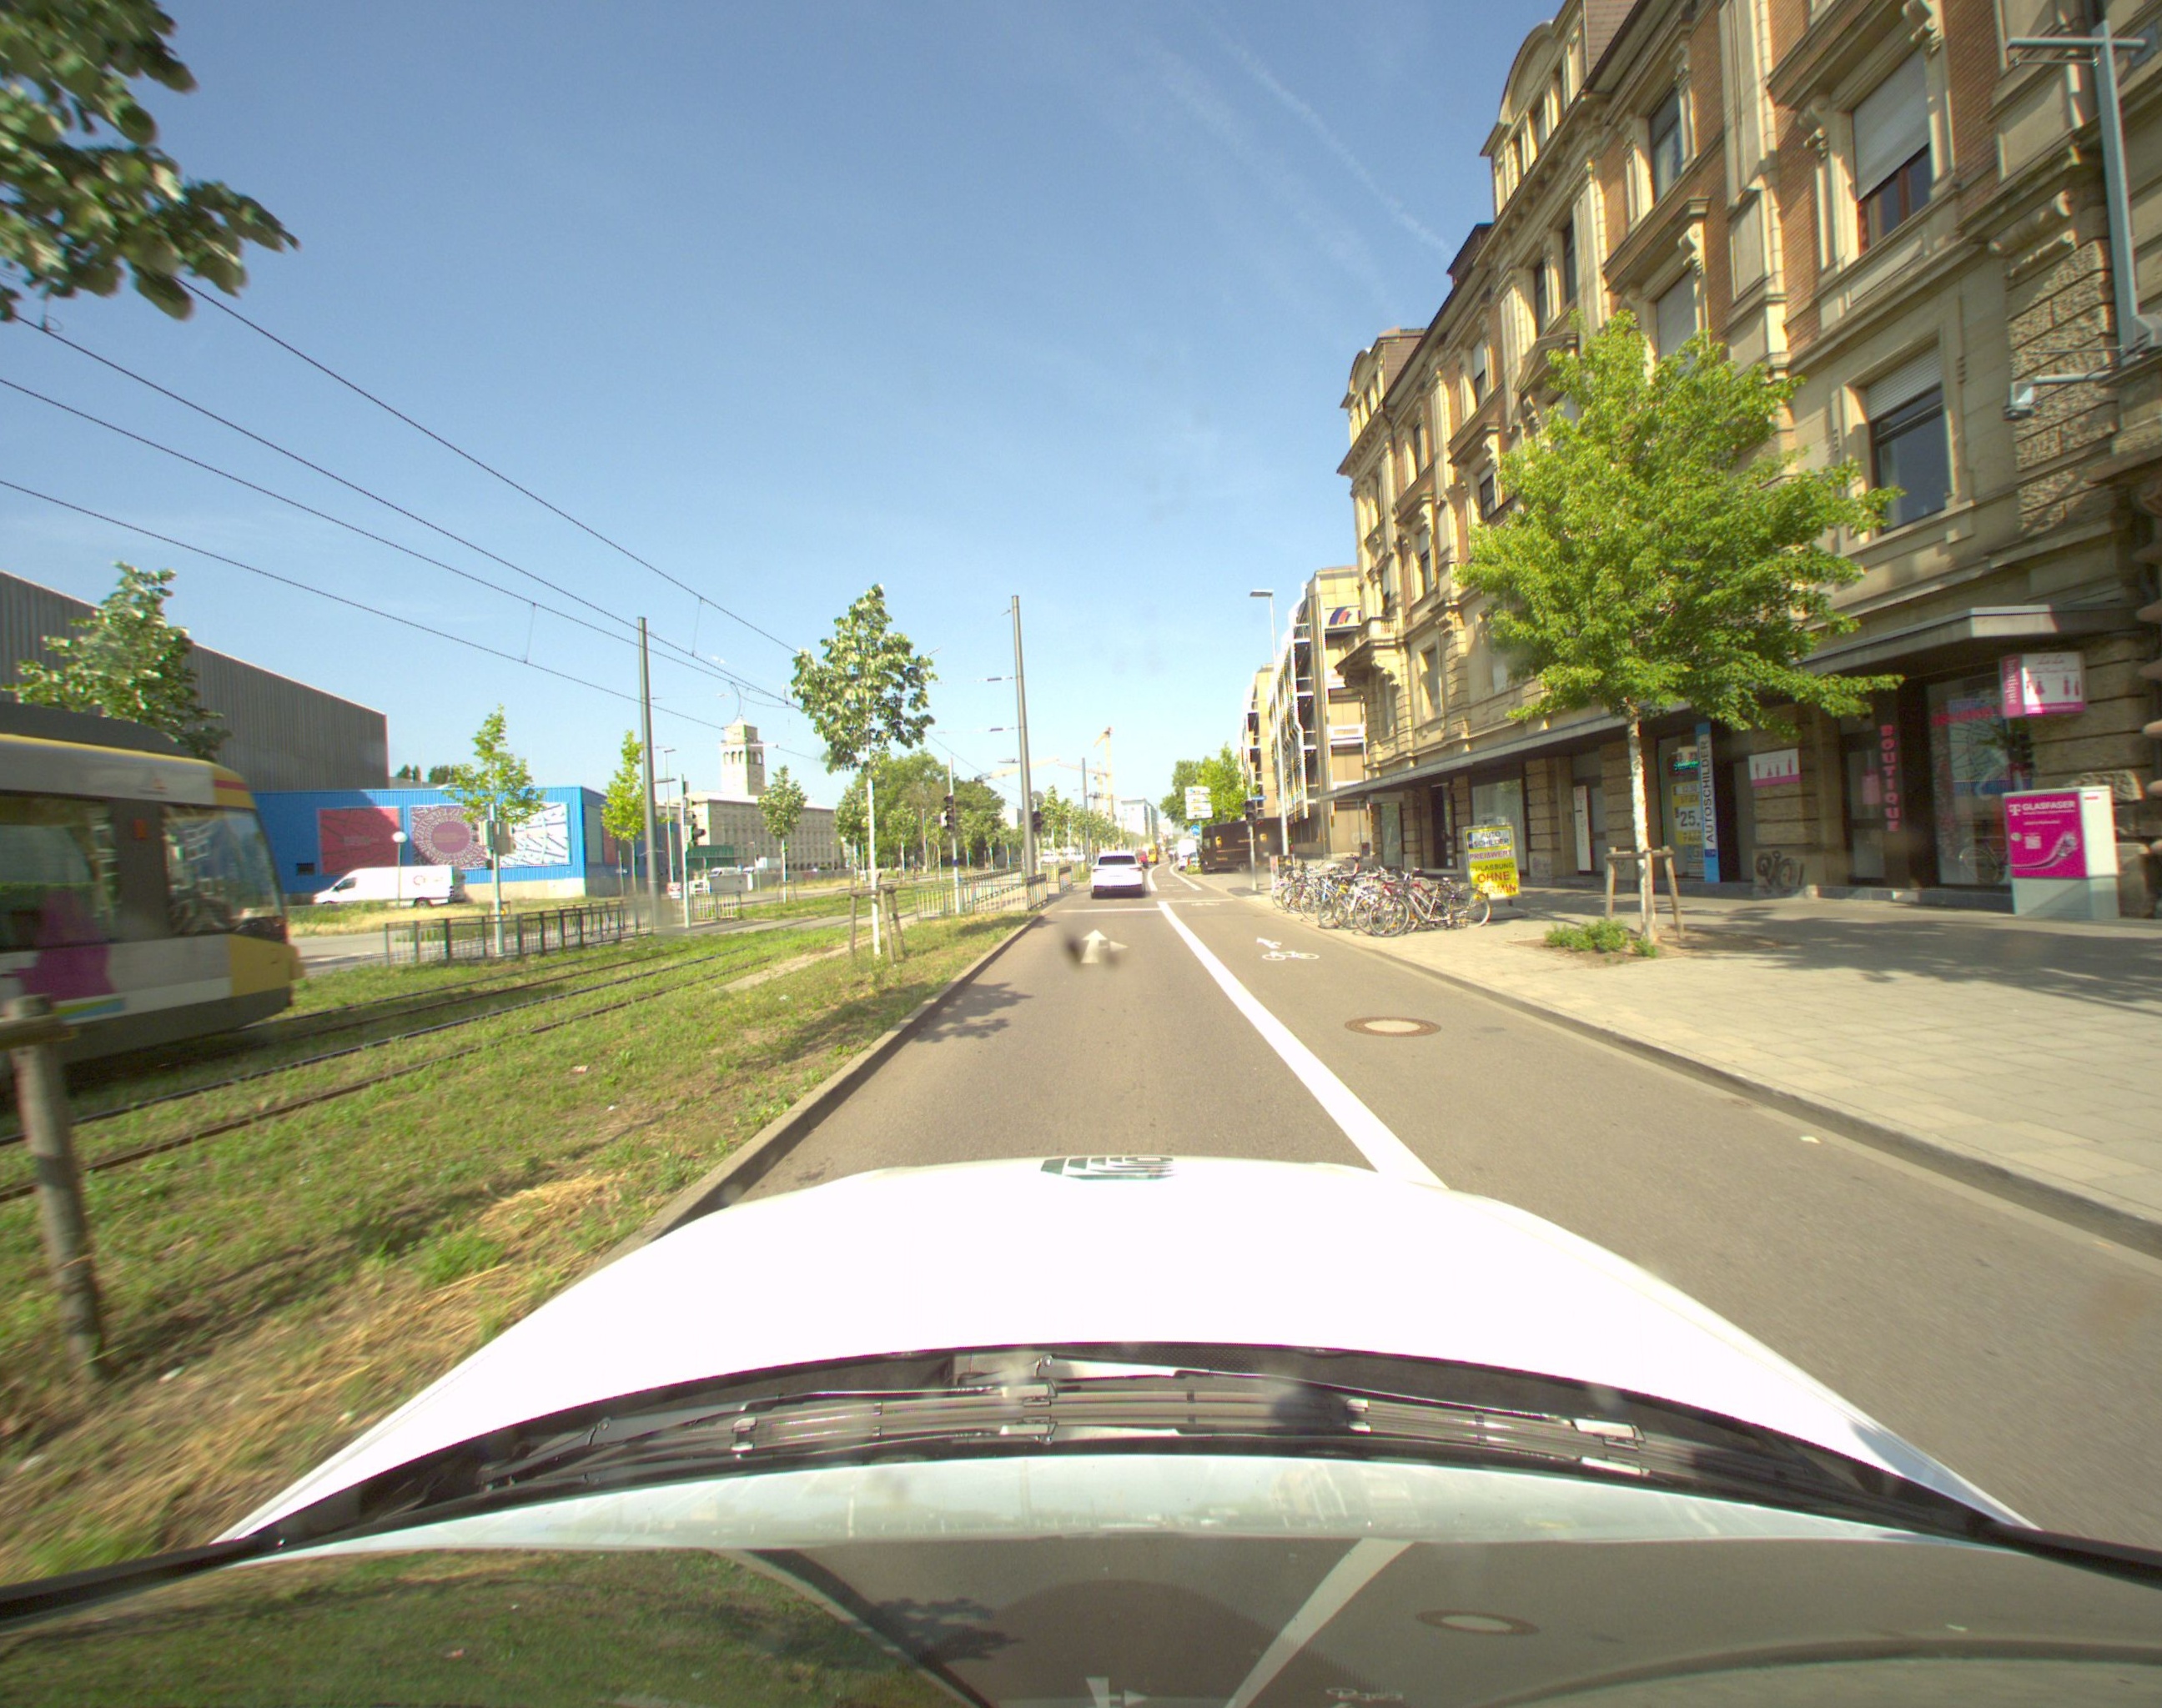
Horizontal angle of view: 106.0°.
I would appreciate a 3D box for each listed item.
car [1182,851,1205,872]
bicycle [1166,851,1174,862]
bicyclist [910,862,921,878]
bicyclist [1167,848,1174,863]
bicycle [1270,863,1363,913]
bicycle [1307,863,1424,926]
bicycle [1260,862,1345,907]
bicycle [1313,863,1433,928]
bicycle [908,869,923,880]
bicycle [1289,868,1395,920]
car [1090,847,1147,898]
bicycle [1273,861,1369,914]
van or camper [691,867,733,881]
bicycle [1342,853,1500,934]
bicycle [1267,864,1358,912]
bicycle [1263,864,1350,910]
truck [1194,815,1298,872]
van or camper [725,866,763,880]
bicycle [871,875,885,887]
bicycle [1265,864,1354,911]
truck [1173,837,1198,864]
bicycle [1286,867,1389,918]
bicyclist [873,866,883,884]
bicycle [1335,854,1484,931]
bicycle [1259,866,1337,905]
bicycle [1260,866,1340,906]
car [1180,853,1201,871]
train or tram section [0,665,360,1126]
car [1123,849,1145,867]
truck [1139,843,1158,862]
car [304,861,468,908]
[{"bbox_3d":[8.577,0.526,62.112,1.640,1.499,3.534,-3,0,7],"label":"car"},{"bbox_3d":[11.942,0.334,108.763,0.779,1.496,2.801,-3,0,2],"label":"bicycle"},{"bbox_3d":[-16.265,1.549,80.122,0.693,1.516,1.187,-3,0,3],"label":"bicyclist"},{"bbox_3d":[11.932,0.180,108.599,0.706,1.895,0.843,-3,0,1],"label":"bicyclist"},{"bbox_3d":[5.333,0.770,18.481,1.926,0.945,0.441,-5,-1,4],"label":"bicycle"},{"bbox_3d":[5.290,0.743,15.180,1.948,0.986,0.471,-5,-1,1],"label":"bicycle"},{"bbox_3d":[5.500,0.751,20.250,1.926,0.945,0.429,-5,-1,4],"label":"bicycle"},{"bbox_3d":[5.259,0.736,14.701,1.927,0.986,0.471,-5,-1,1],"label":"bicycle"},{"bbox_3d":[-16.248,1.969,79.916,0.693,0.990,2.826,-3,0,3],"label":"bicycle"},{"bbox_3d":[5.235,0.805,16.381,1.927,0.874,0.441,-5,-1,1],"label":"bicycle"},{"bbox_3d":[1.239,0.630,28.657,1.811,1.590,4.406,-2,0,0],"label":"car"},{"bbox_3d":[5.296,0.740,18.035,1.926,1.013,0.441,-5,-1,4],"label":"bicycle"},{"bbox_3d":[-60.113,3.214,132.805,2.537,2.085,6.464,-3,0,15],"label":"van or camper"},{"bbox_3d":[5.490,0.632,13.208,2.231,1.104,0.588,-5,-1,1],"label":"bicycle"},{"bbox_3d":[5.370,0.777,18.960,1.926,0.945,0.441,-5,-1,4],"label":"bicycle"},{"bbox_3d":[5.455,0.789,19.786,1.926,0.945,0.429,-5,-1,4],"label":"bicycle"},{"bbox_3d":[9.477,-0.525,47.648,2.520,3.011,6.909,-2,0,-21],"label":"truck"},{"bbox_3d":[-58.073,3.318,140.482,2.537,2.085,6.464,-3,0,15],"label":"van or camper"},{"bbox_3d":[-16.972,2.262,68.141,0.536,0.958,1.919,-3,0,4],"label":"bicycle"},{"bbox_3d":[5.404,0.782,19.343,1.926,0.945,0.429,-5,-1,4],"label":"bicycle"},{"bbox_3d":[10.246,-0.314,80.257,1.986,2.508,4.002,-3,0,2],"label":"truck"},{"bbox_3d":[5.276,0.796,16.825,1.927,0.874,0.441,-5,-1,1],"label":"bicycle"},{"bbox_3d":[-16.994,1.746,68.266,0.536,1.422,0.901,-3,0,4],"label":"bicyclist"},{"bbox_3d":[5.521,0.640,13.763,2.231,1.104,0.519,-5,-1,1],"label":"bicycle"},{"bbox_3d":[5.679,0.816,21.366,1.878,0.863,0.429,-5,-1,4],"label":"bicycle"},{"bbox_3d":[5.618,0.809,20.925,1.878,0.863,0.429,-5,-1,4],"label":"bicycle"},{"bbox_3d":[8.932,0.622,66.405,1.640,1.385,3.534,-3,0,7],"label":"car"},{"bbox_3d":[-9.884,0.342,3.259,2.888,3.586,12.224,-3,-1,1],"label":"train or tram section"},{"bbox_3d":[5.343,0.416,81.162,1.984,1.684,4.375,-3,0,5],"label":"car"},{"bbox_3d":[9.089,-0.217,109.664,2.204,2.318,5.893,-3,0,2],"label":"truck"},{"bbox_3d":[-41.054,1.771,48.412,6.899,2.639,2.497,0,-1,-21],"label":"car"}]
